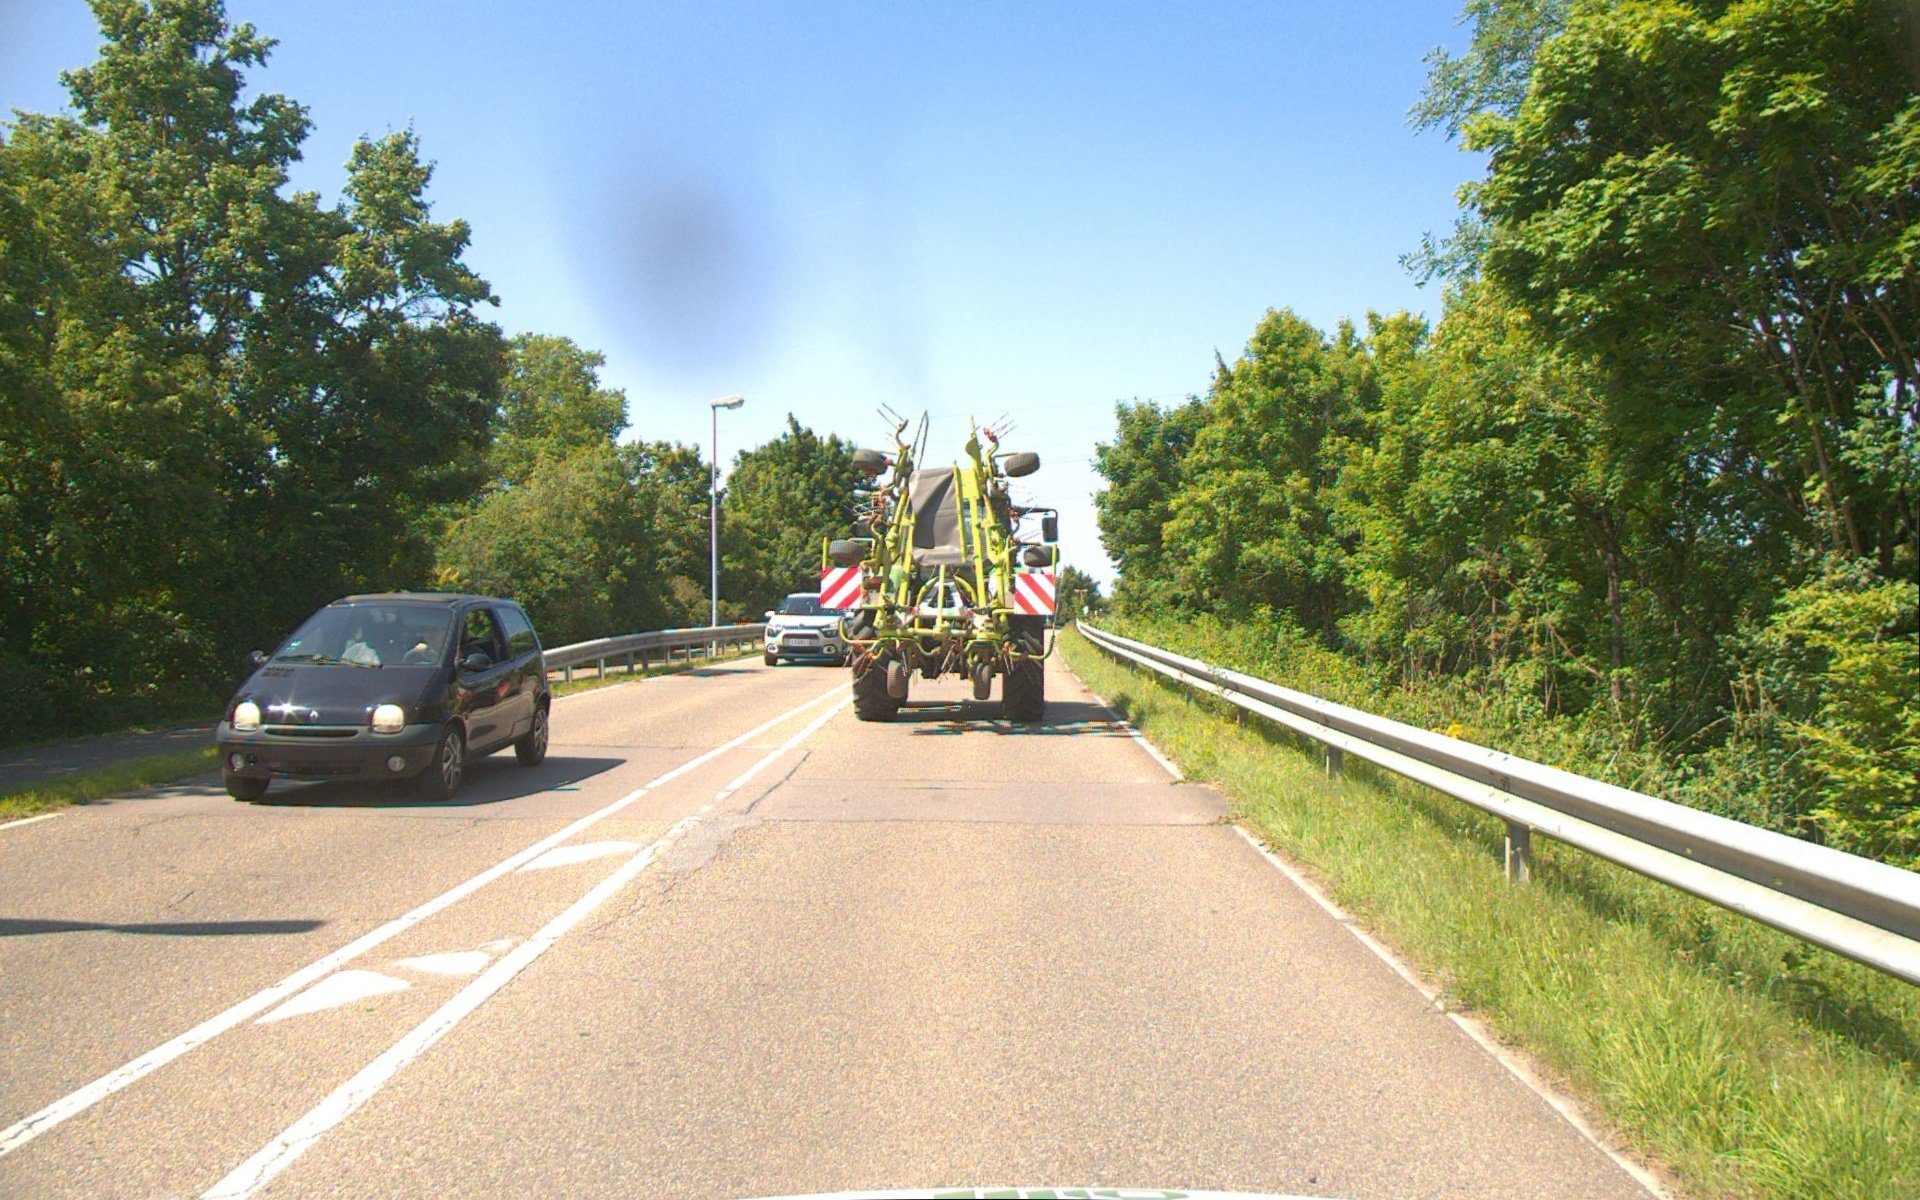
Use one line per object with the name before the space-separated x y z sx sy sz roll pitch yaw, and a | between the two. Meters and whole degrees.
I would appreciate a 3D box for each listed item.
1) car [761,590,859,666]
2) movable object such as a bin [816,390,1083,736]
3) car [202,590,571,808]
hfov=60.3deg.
car | -3.150 0.555 35.417 1.704 1.481 3.889 1 0 0
movable object such as a bin | -0.123 -0.383 19.622 2.699 3.504 5.669 0 0 -1
car | -4.297 0.663 12.930 1.593 1.429 3.434 0 1 2
